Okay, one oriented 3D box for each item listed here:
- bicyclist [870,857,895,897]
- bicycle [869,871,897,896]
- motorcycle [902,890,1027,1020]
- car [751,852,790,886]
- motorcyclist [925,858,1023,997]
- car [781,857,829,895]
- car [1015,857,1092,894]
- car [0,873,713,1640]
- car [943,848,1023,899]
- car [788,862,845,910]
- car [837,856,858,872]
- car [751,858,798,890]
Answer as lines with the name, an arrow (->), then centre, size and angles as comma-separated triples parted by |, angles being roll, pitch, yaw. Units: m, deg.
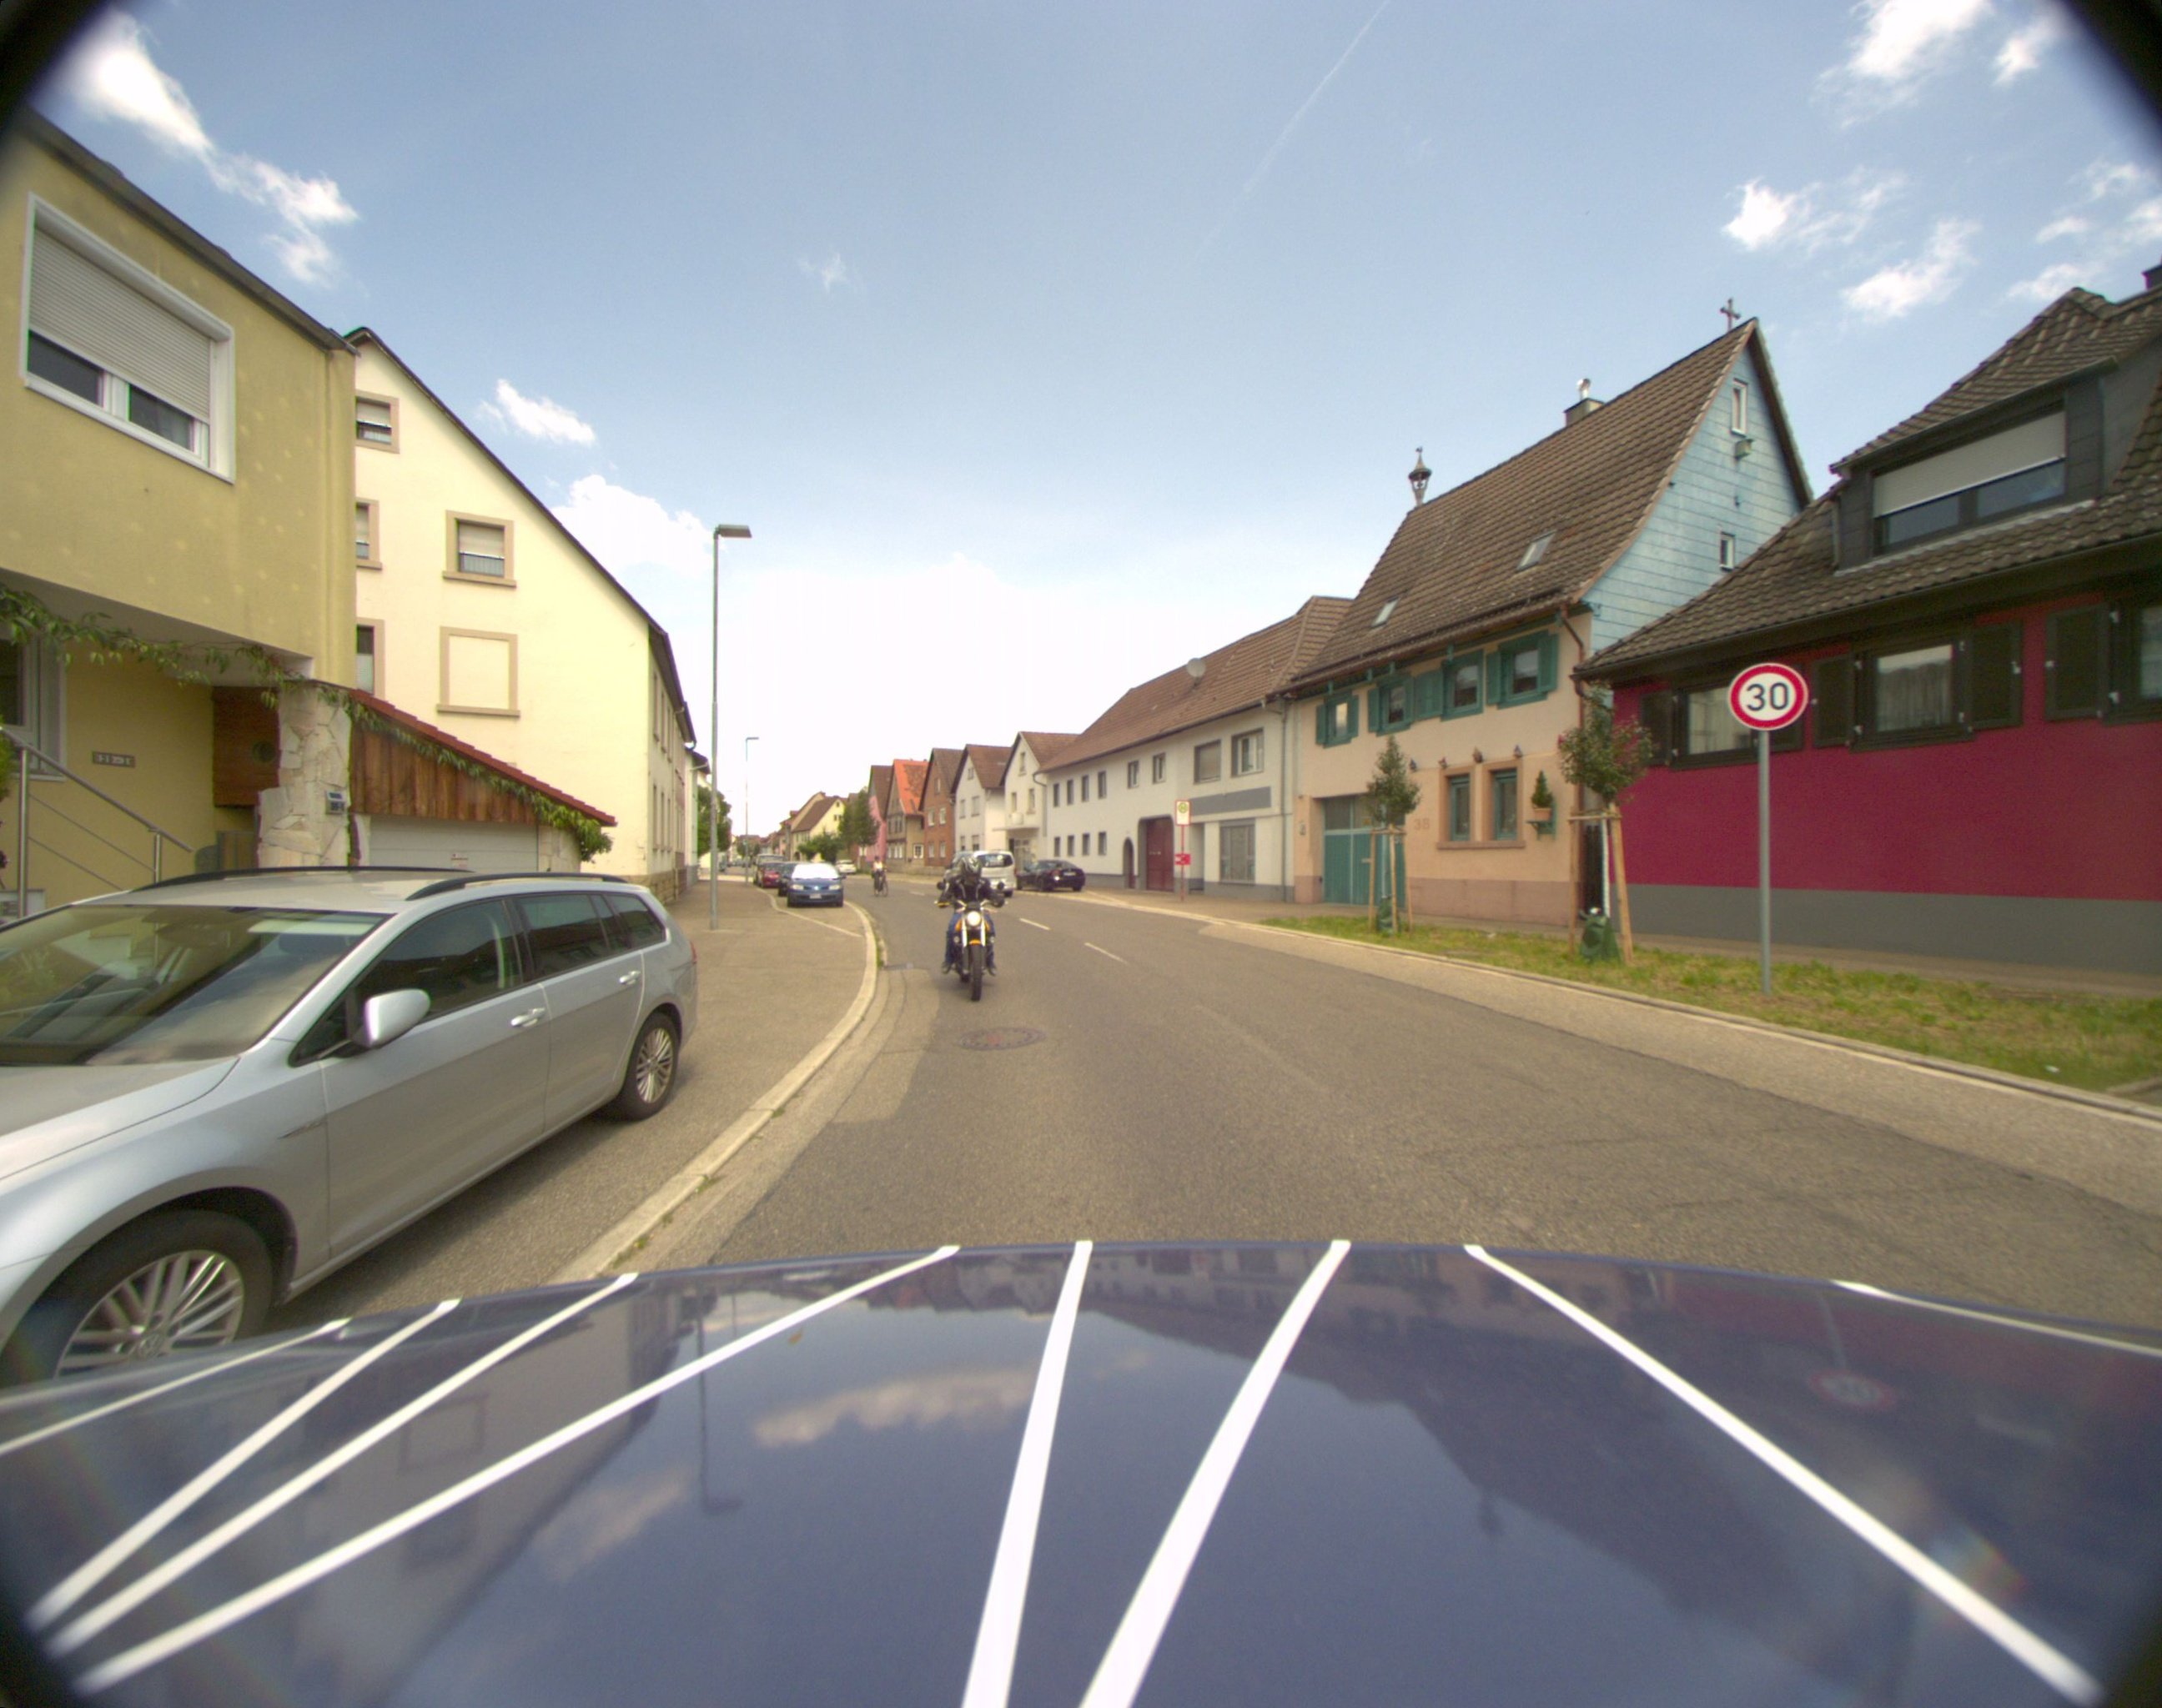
bicyclist -> -8.501, 0.984, 32.600 | 0.910, 1.679, 0.760 | -1, 2, -8
bicycle -> -8.492, 1.257, 32.646 | 0.934, 1.005, 1.923 | -1, -1, -8
motorcycle -> -1.294, 1.111, 9.002 | 0.985, 1.233, 2.103 | -2, 0, 3
car -> -19.559, 0.878, 47.687 | 1.934, 1.904, 5.234 | -2, 2, -25
motorcyclist -> -1.279, 0.867, 9.250 | 1.000, 1.591, 0.800 | -1, 2, 3
car -> -12.080, 0.980, 33.101 | 1.776, 1.520, 3.994 | -1, -2, -22
car -> -1.274, 0.907, 33.218 | 1.812, 1.412, 4.542 | -2, 0, -23
car -> -3.373, 0.922, 3.034 | 1.890, 1.521, 4.334 | 2, 0, -4
car -> -4.107, 0.712, 31.007 | 2.002, 1.789, 4.925 | -2, 2, -22
car -> -9.027, 1.033, 26.055 | 1.730, 1.377, 3.993 | 0, 1, -18
car -> -23.805, 1.021, 77.450 | 1.686, 1.521, 3.491 | -2, 2, -23
car -> -17.076, 1.052, 42.262 | 1.669, 1.638, 3.990 | -2, 1, -33
